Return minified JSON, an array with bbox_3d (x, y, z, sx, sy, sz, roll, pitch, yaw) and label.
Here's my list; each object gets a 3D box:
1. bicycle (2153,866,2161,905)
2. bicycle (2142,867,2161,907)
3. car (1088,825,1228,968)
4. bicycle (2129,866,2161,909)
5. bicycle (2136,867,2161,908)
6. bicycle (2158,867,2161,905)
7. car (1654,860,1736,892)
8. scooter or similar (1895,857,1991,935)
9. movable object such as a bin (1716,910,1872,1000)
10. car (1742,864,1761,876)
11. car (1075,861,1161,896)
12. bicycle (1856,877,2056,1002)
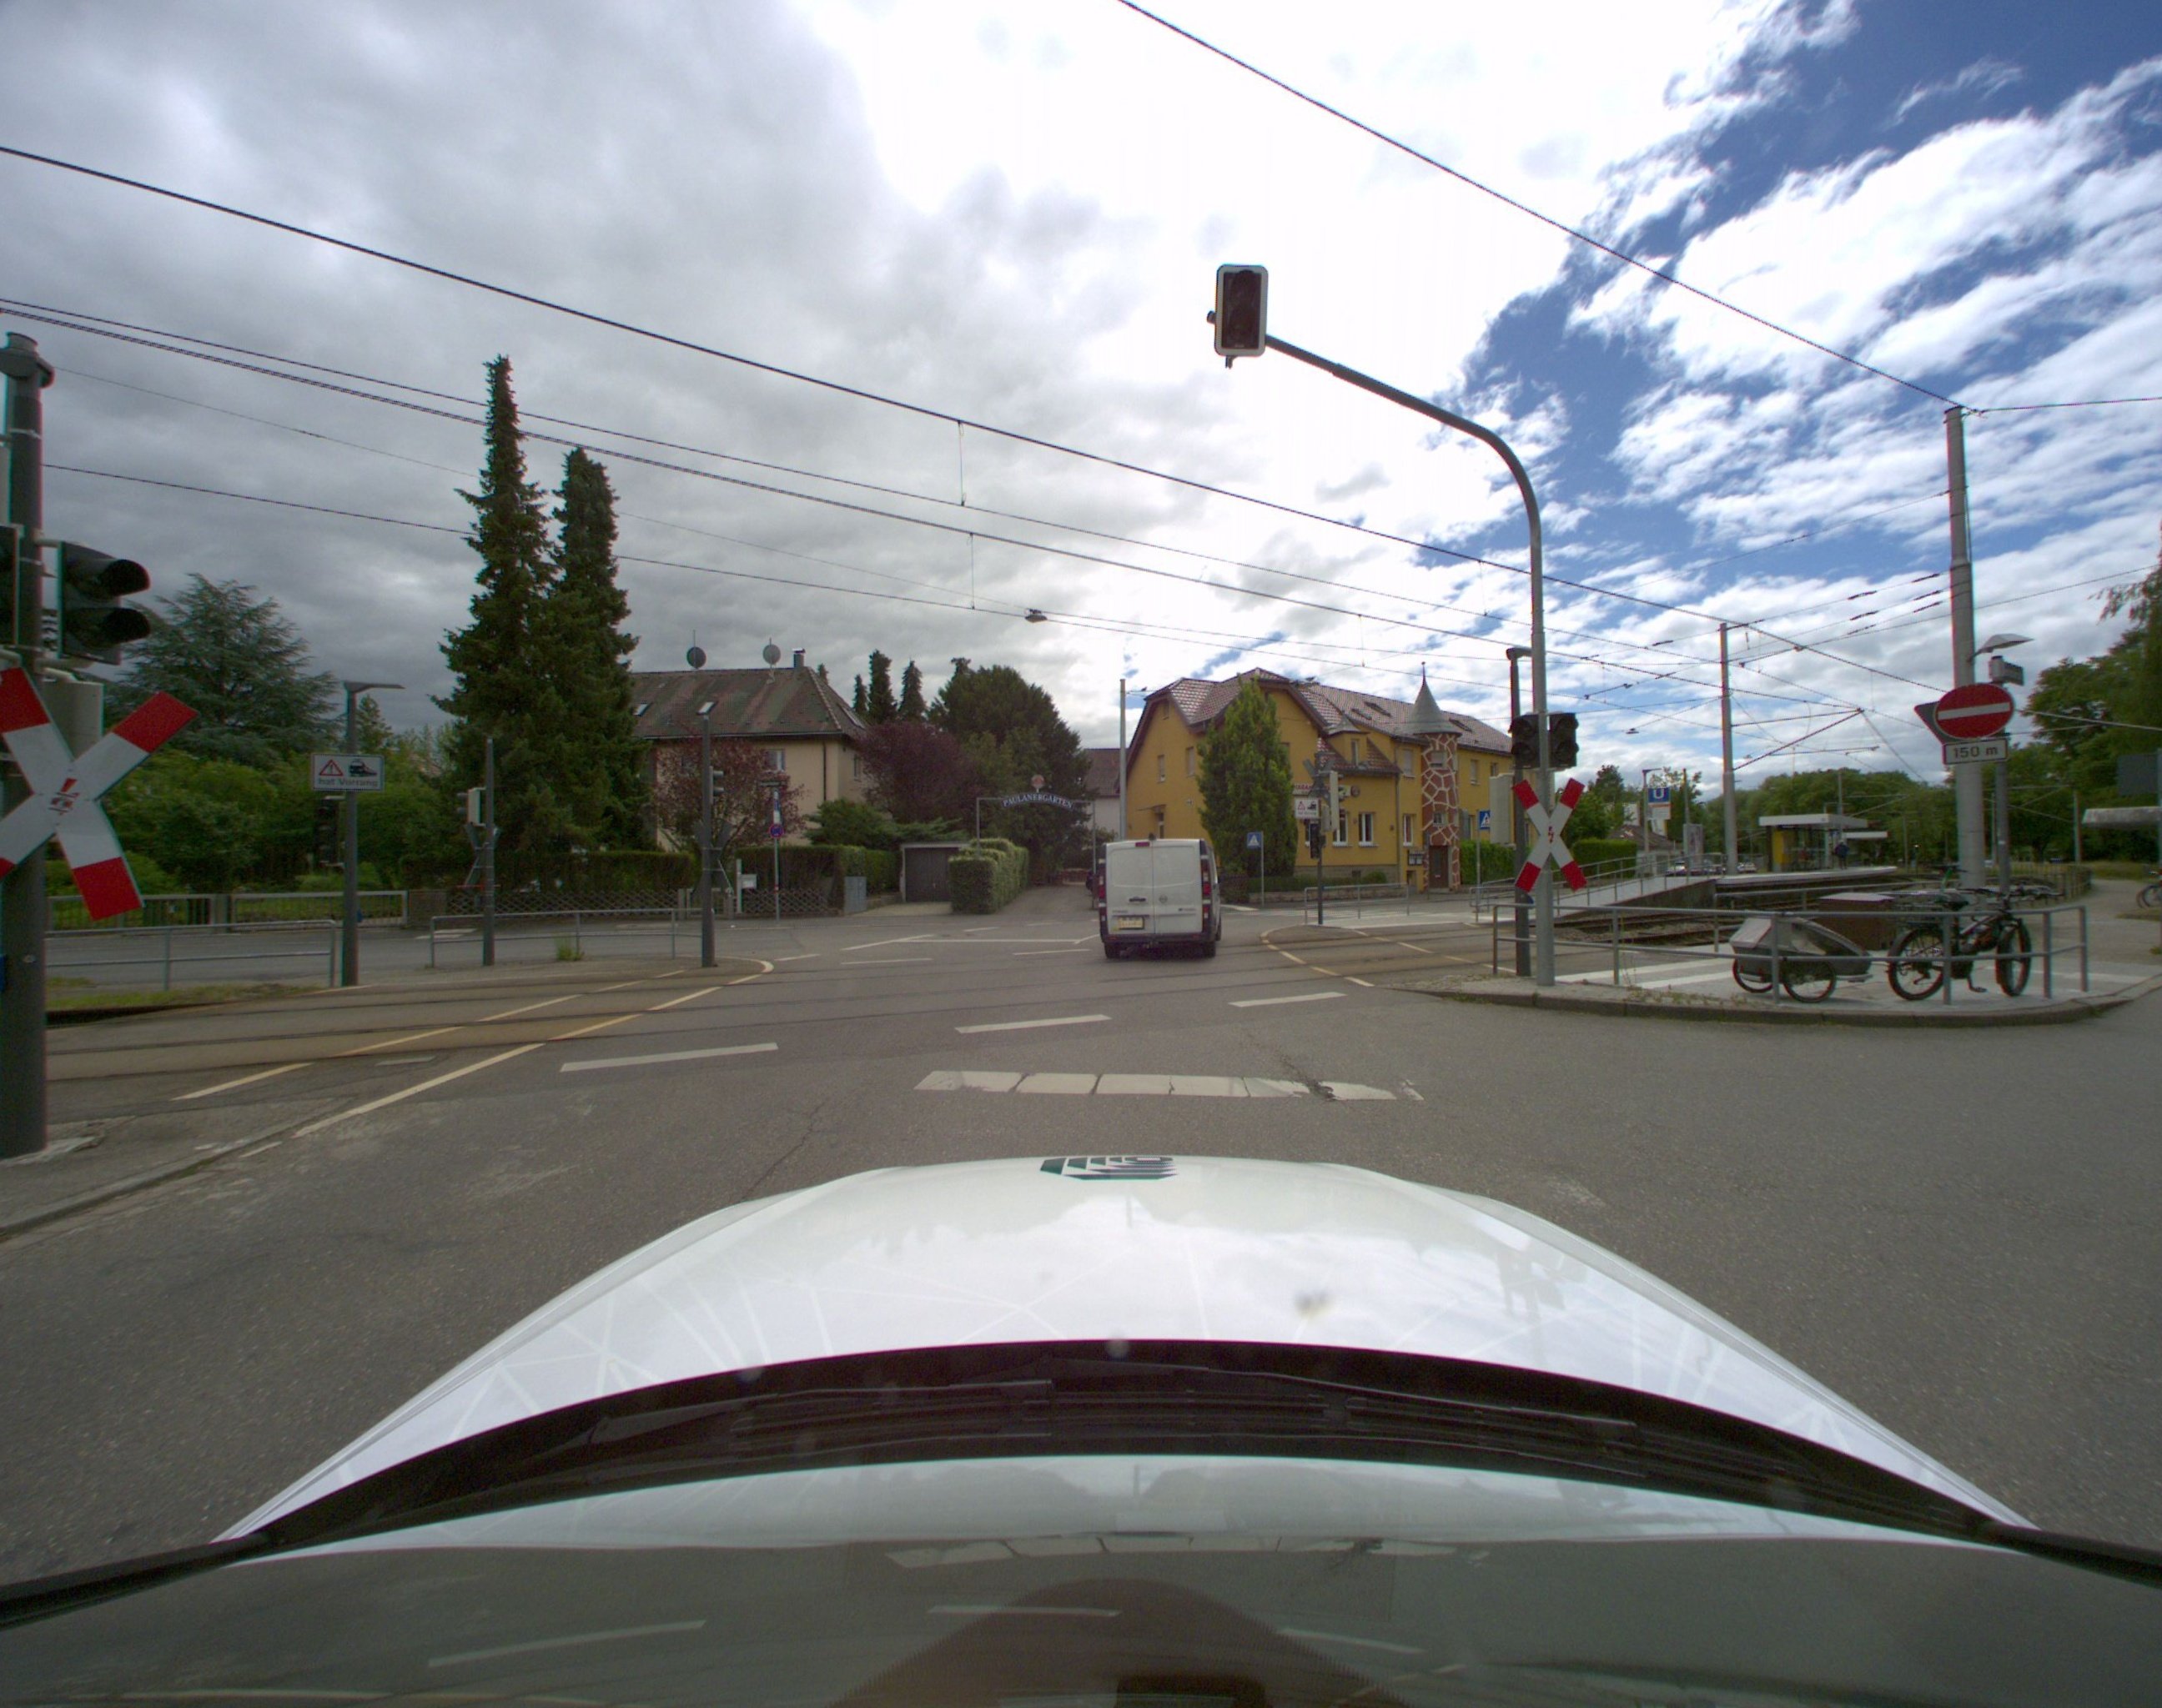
[{"bbox_3d":[29.394,0.826,21.188,0.558,1.042,1.754,0,-1,-29],"label":"bicycle"},{"bbox_3d":[28.617,0.856,20.815,0.558,1.042,1.754,0,-1,-29],"label":"bicycle"},{"bbox_3d":[1.575,0.658,15.069,2.104,2.134,5.454,0,0,9],"label":"car"},{"bbox_3d":[27.213,0.825,19.992,0.558,1.042,1.754,0,-1,-29],"label":"bicycle"},{"bbox_3d":[27.995,0.849,20.451,0.558,1.042,1.754,0,-1,-29],"label":"bicycle"},{"bbox_3d":[30.009,0.852,21.551,0.558,1.042,1.754,0,-1,-29],"label":"bicycle"},{"bbox_3d":[31.734,1.100,42.056,4.392,1.564,2.336,1,-1,-37],"label":"car"},{"bbox_3d":[15.249,0.730,14.425,0.491,1.316,1.041,-1,-1,-29],"label":"scooter or similar"},{"bbox_3d":[7.161,0.999,8.207,1.089,0.824,0.578,0,-1,-5],"label":"movable object such as a bin"},{"bbox_3d":[89.614,2.166,108.862,1.801,1.419,4.490,-5,-4,41],"label":"car"},{"bbox_3d":[1.748,1.121,38.038,3.691,1.427,1.710,-1,2,-31],"label":"car"},{"bbox_3d":[8.701,0.823,8.113,1.686,1.156,0.465,-1,-1,-8],"label":"bicycle"}]
